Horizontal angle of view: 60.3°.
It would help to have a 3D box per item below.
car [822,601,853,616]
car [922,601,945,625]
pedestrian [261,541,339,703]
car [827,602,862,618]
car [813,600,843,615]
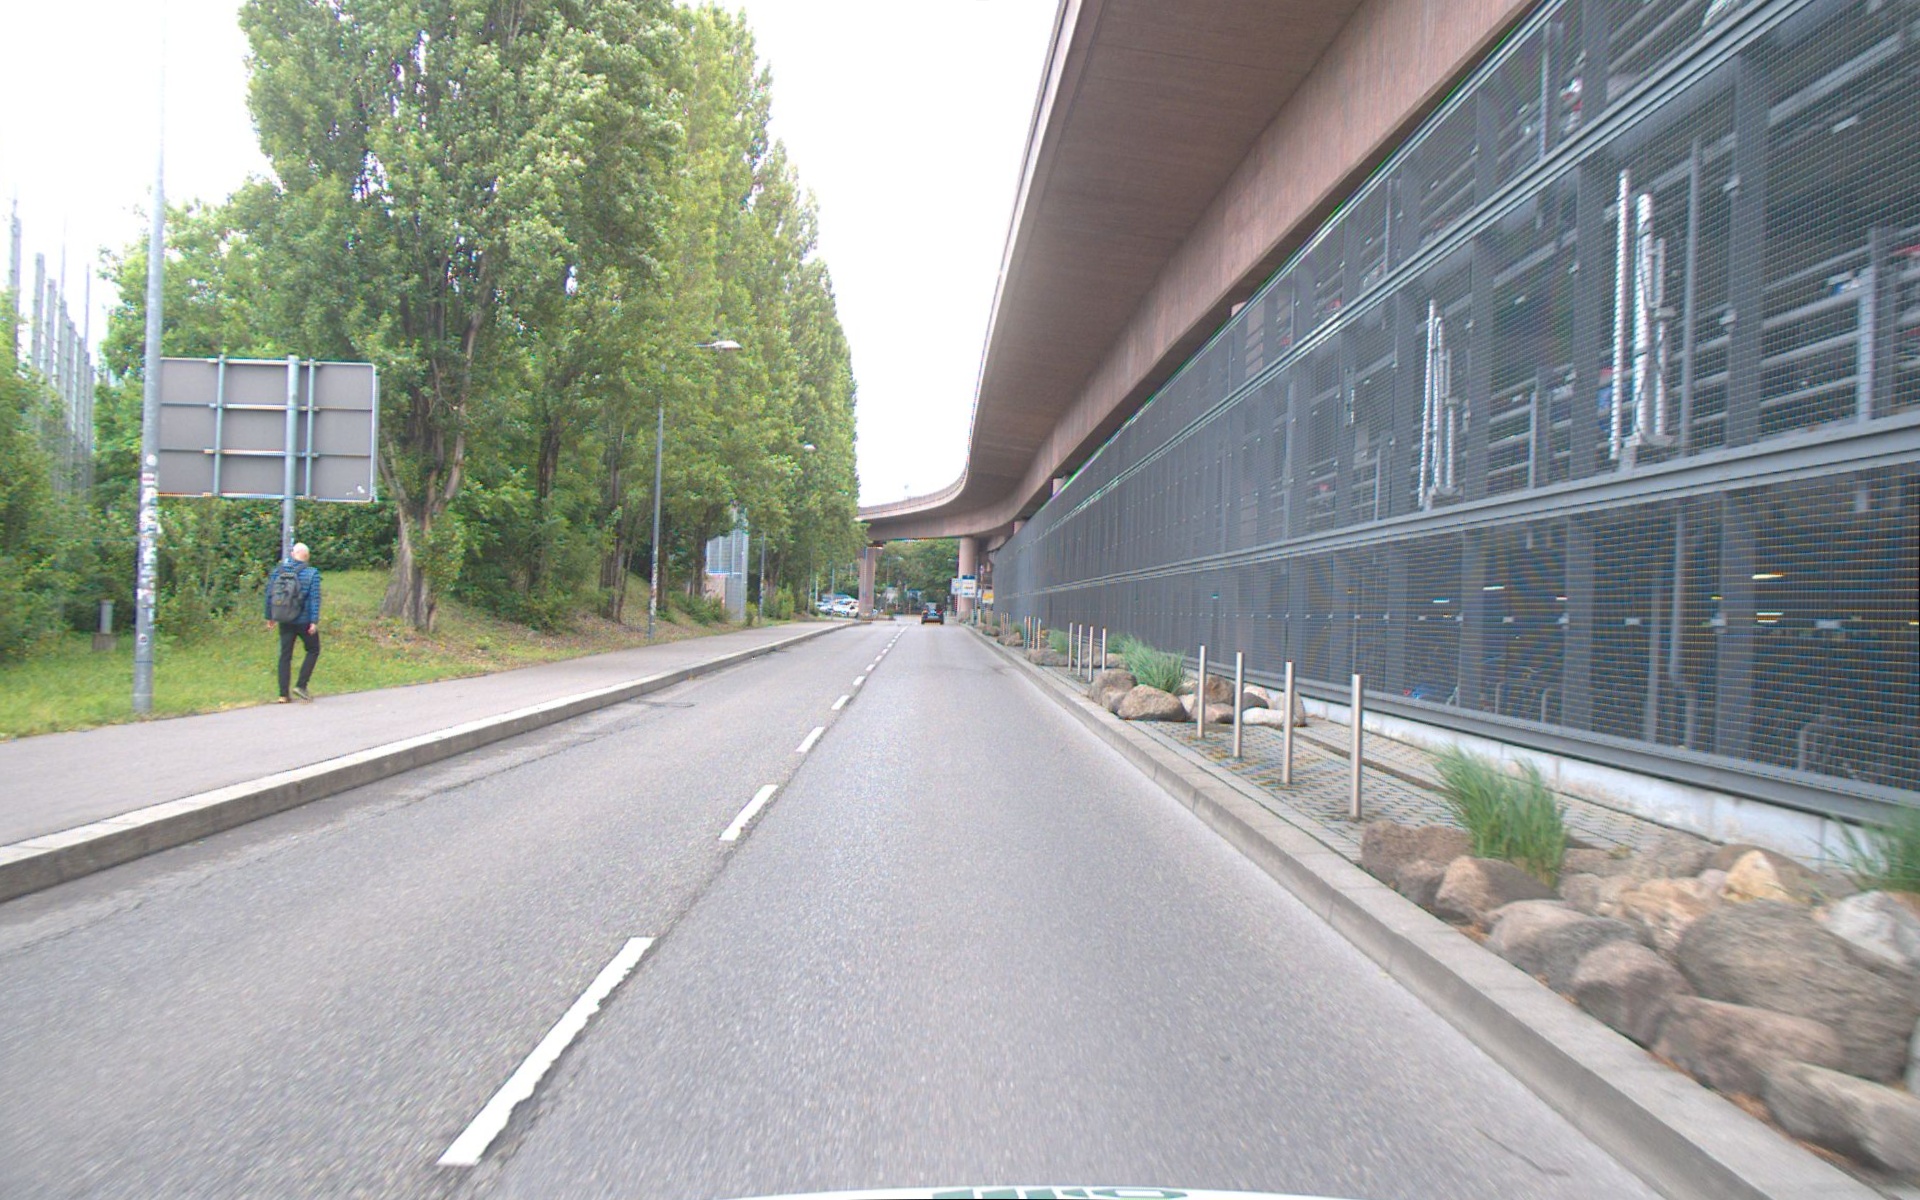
[{"bbox_3d":[-14.821,1.025,199.880,1.694,1.746,3.653,2,1,40],"label":"car"},{"bbox_3d":[-2.180,1.057,135.694,1.802,1.741,3.705,1,1,-1],"label":"car"},{"bbox_3d":[-7.646,0.240,19.145,0.793,1.812,0.914,1,1,-24],"label":"pedestrian"},{"bbox_3d":[-13.630,1.162,195.672,1.851,1.746,4.131,2,1,40],"label":"car"},{"bbox_3d":[-16.216,0.891,203.369,1.694,1.746,3.653,2,1,40],"label":"car"}]
